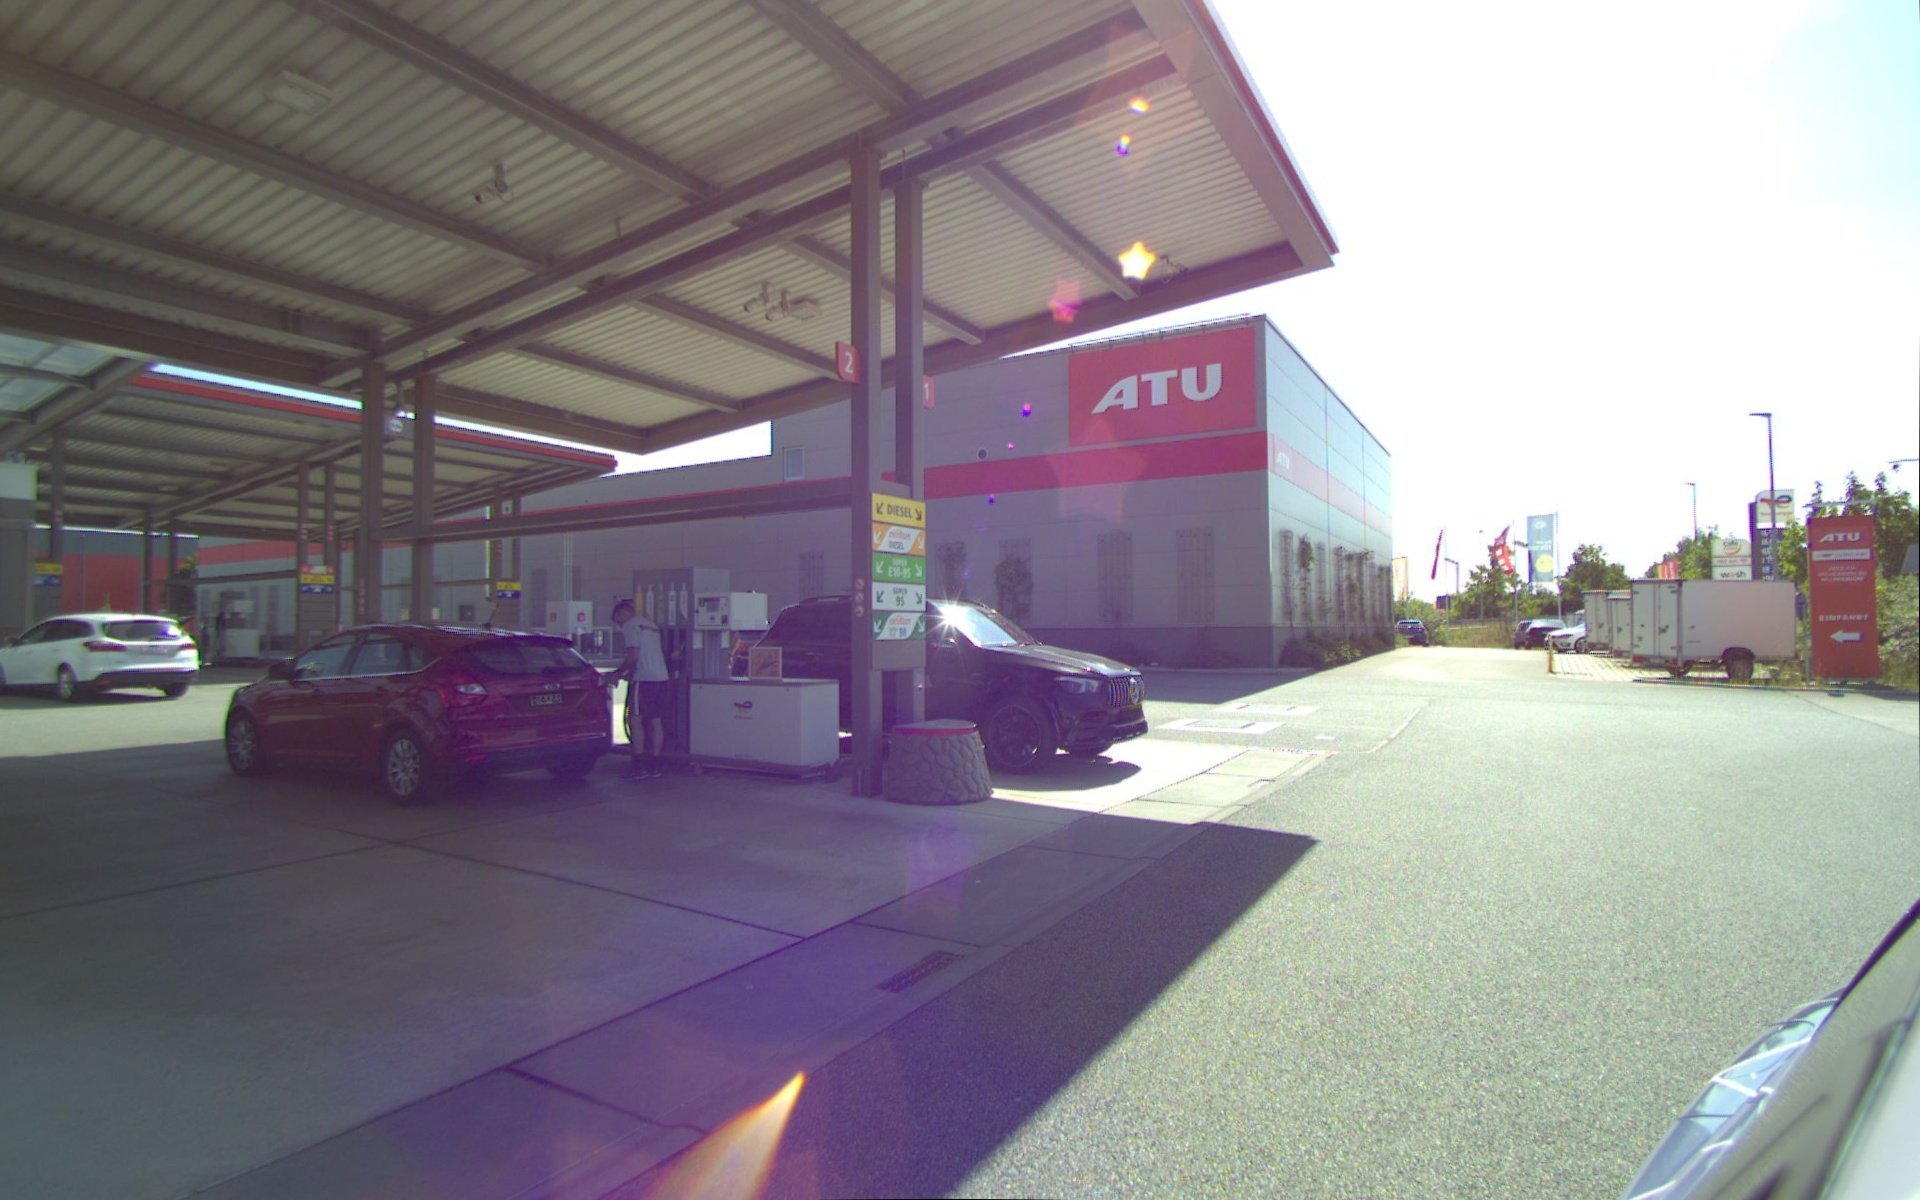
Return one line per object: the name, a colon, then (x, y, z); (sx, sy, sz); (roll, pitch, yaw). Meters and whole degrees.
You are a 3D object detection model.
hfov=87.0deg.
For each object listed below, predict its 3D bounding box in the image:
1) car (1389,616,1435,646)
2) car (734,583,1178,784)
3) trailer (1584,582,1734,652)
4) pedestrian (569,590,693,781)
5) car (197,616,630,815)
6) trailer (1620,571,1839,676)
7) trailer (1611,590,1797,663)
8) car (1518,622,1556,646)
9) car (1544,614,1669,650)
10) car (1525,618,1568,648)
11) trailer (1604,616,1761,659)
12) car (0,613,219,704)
car: (25.003, 1.680, 56.115); (1.657, 1.561, 3.818); (0, -1, 14)
car: (-0.127, 0.772, 11.567); (4.760, 1.874, 2.011); (0, -1, 32)
trailer: (25.187, 0.604, 36.613); (3.928, 2.458, 1.997); (0, -1, 4)
pedestrian: (-3.149, 0.779, 9.696); (0.921, 1.725, 0.695); (-1, -2, 32)
car: (-5.177, 0.899, 9.444); (4.198, 1.488, 1.685); (-1, -1, 31)
trailer: (18.889, 0.564, 24.956); (3.919, 2.458, 2.002); (0, -1, -6)
trailer: (21.639, 0.764, 29.585); (3.931, 2.040, 1.799); (0, -1, 7)
car: (32.458, 1.895, 56.884); (1.669, 1.320, 3.681); (-1, -1, 32)
car: (25.028, 1.230, 39.255); (3.761, 1.334, 1.682); (0, -1, -2)
car: (27.767, 1.516, 47.957); (1.667, 1.334, 3.795); (-1, -1, 29)
trailer: (22.703, 1.157, 31.915); (3.655, 1.297, 1.575); (0, -1, 7)
car: (-15.628, 0.983, 18.277); (4.276, 1.475, 1.819); (0, -1, 26)
